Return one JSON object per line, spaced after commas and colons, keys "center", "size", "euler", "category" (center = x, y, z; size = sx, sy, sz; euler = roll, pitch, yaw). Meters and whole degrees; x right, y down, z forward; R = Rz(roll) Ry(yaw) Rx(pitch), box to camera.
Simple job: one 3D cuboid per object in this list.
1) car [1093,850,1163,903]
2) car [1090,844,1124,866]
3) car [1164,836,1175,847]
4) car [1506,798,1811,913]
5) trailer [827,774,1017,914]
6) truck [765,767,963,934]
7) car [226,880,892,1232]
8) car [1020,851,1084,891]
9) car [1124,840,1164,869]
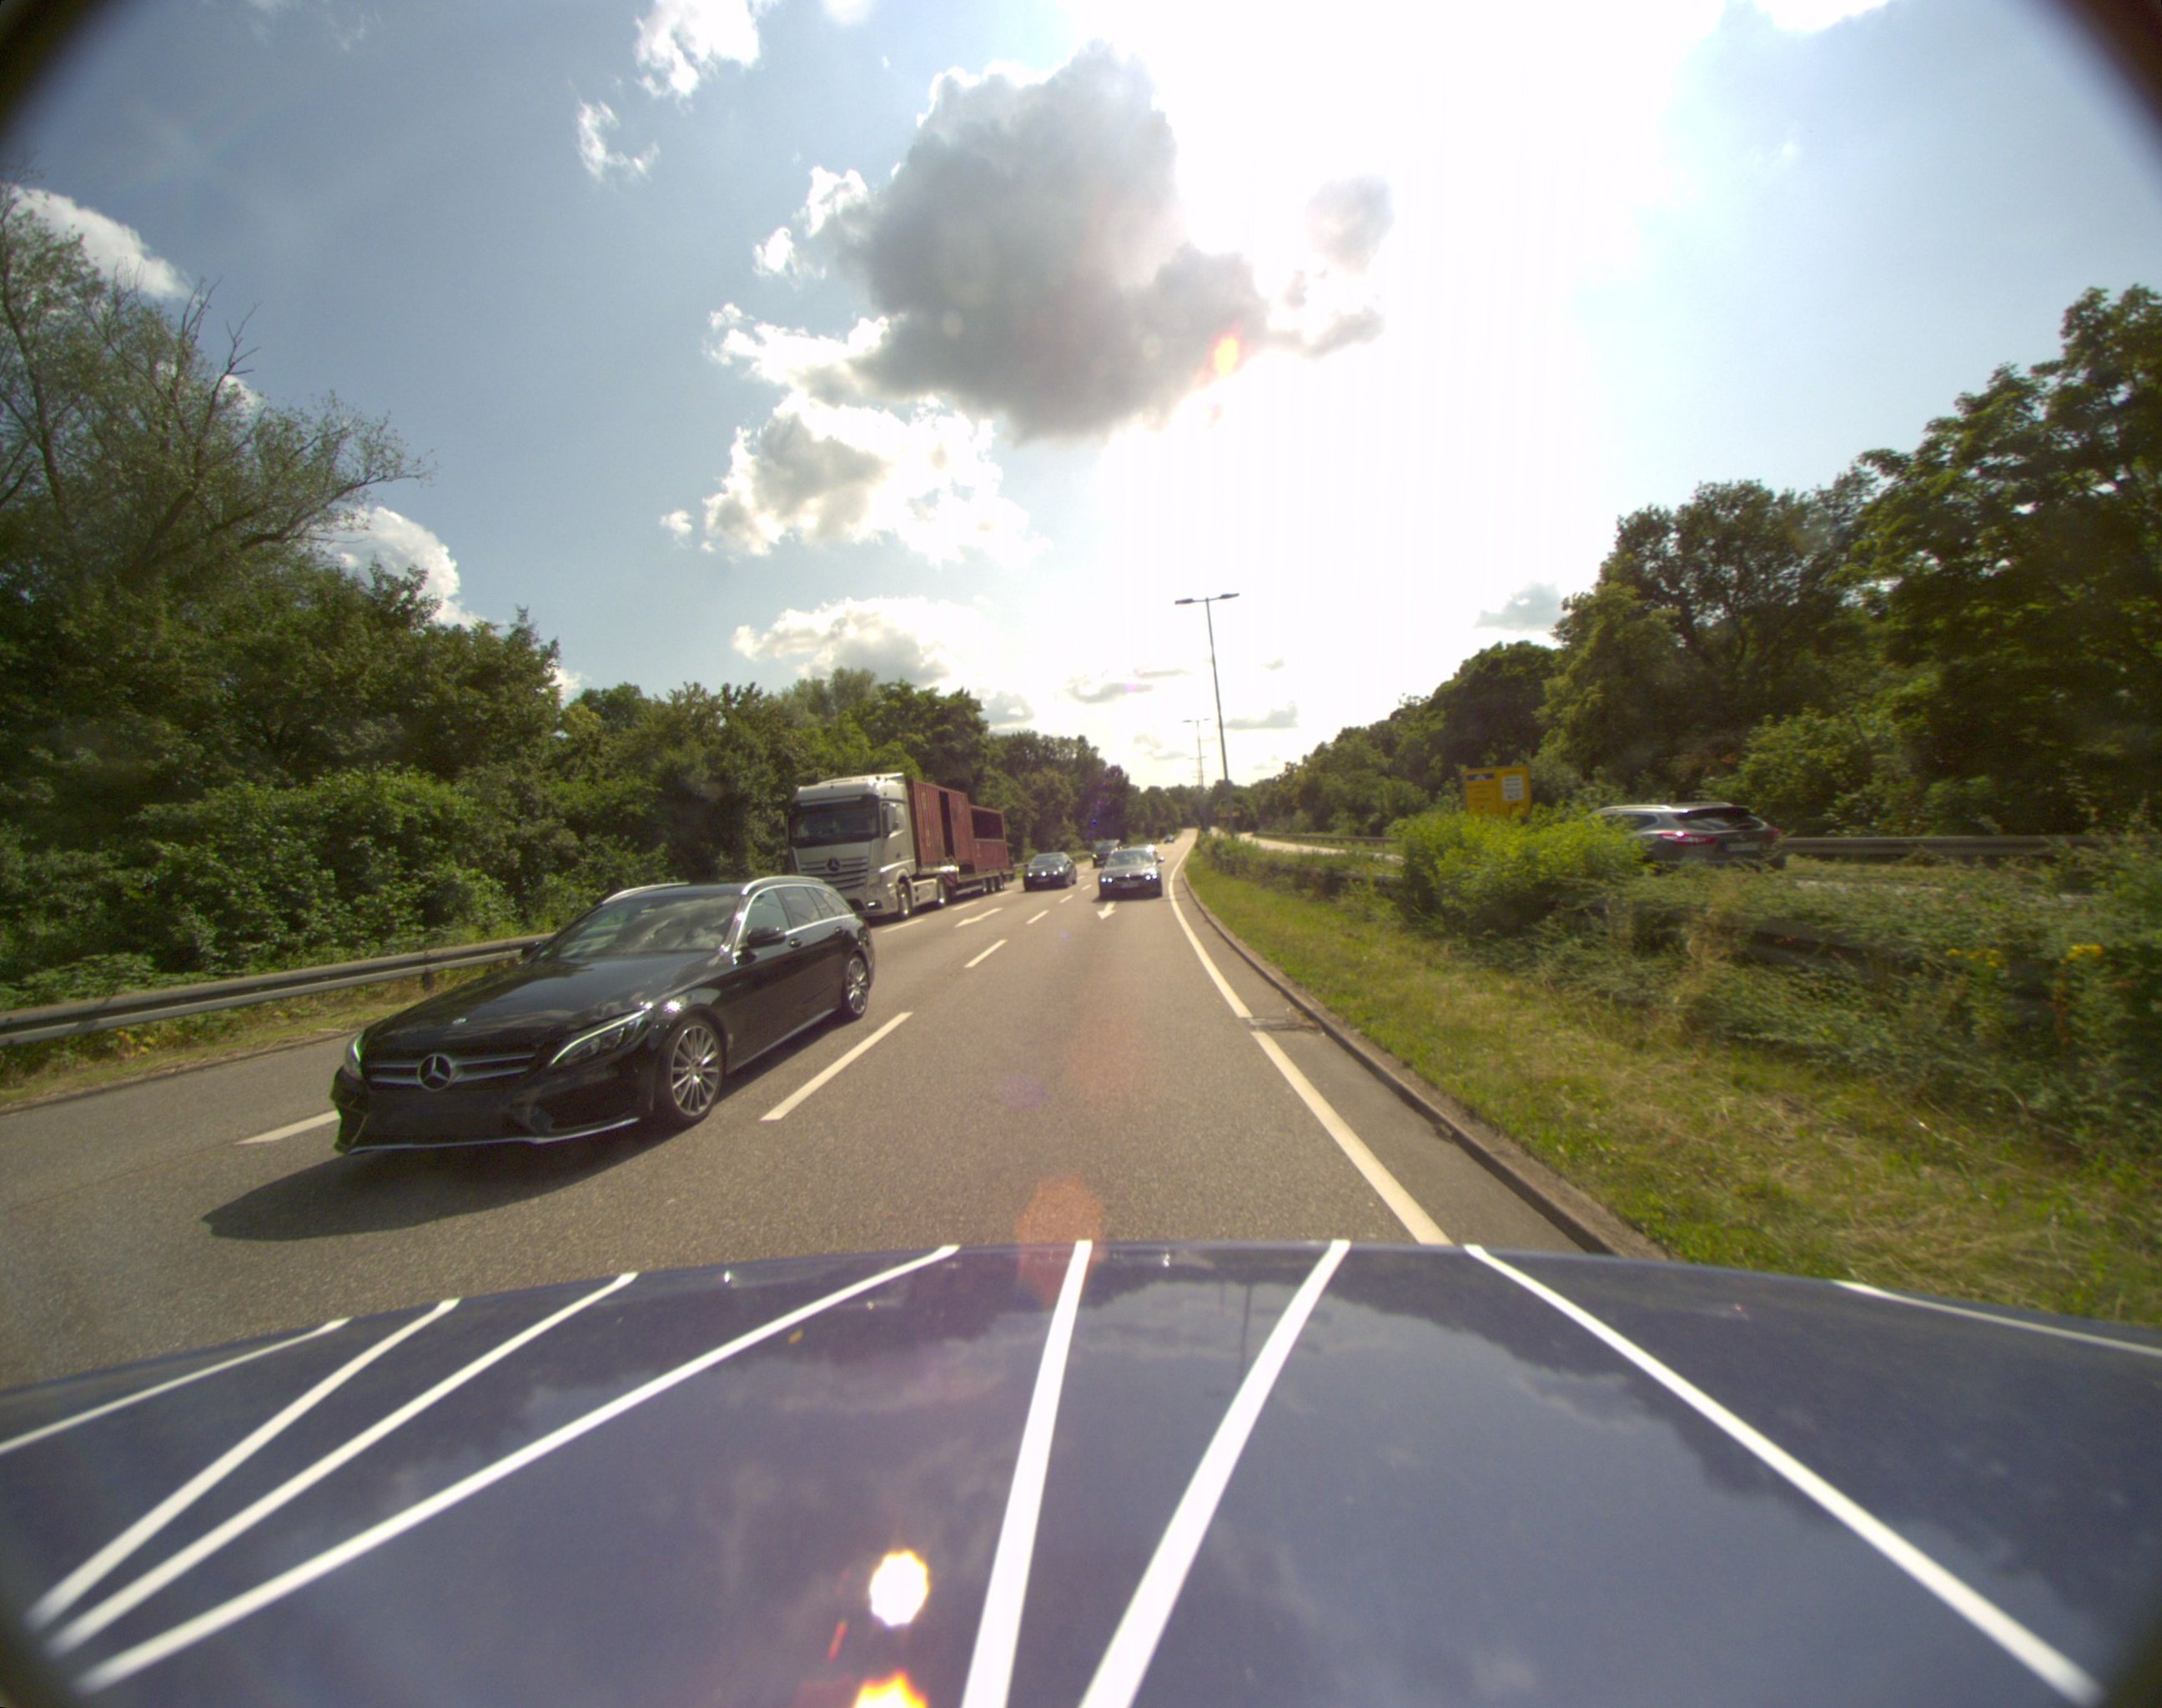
{"center": [1.496, 0.597, 22.783], "size": [1.857, 1.354, 4.001], "euler": [-3, 0, 6], "category": "car"}
{"center": [1.901, 0.038, 54.099], "size": [1.857, 1.403, 4.002], "euler": [-4, 0, 8], "category": "car"}
{"center": [17.567, -2.464, 151.472], "size": [1.975, 2.002, 4.001], "euler": [-3, 1, 8], "category": "car"}
{"center": [9.437, 0.015, 12.958], "size": [1.715, 1.577, 4.280], "euler": [-2, 0, -4], "category": "car"}
{"center": [-5.134, -0.363, 28.083], "size": [2.777, 3.827, 12.326], "euler": [-4, 0, 7], "category": "trailer"}
{"center": [-5.816, -0.096, 21.836], "size": [2.775, 3.823, 6.822], "euler": [-5, 0, 6], "category": "truck"}
{"center": [-3.106, 1.075, 5.873], "size": [1.794, 1.427, 4.370], "euler": [-4, 1, 4], "category": "car"}
{"center": [-1.124, 0.662, 31.343], "size": [1.857, 1.403, 4.002], "euler": [-4, 0, 8], "category": "car"}
{"center": [3.530, 0.000, 41.866], "size": [1.857, 1.403, 4.002], "euler": [-4, 0, 8], "category": "car"}
